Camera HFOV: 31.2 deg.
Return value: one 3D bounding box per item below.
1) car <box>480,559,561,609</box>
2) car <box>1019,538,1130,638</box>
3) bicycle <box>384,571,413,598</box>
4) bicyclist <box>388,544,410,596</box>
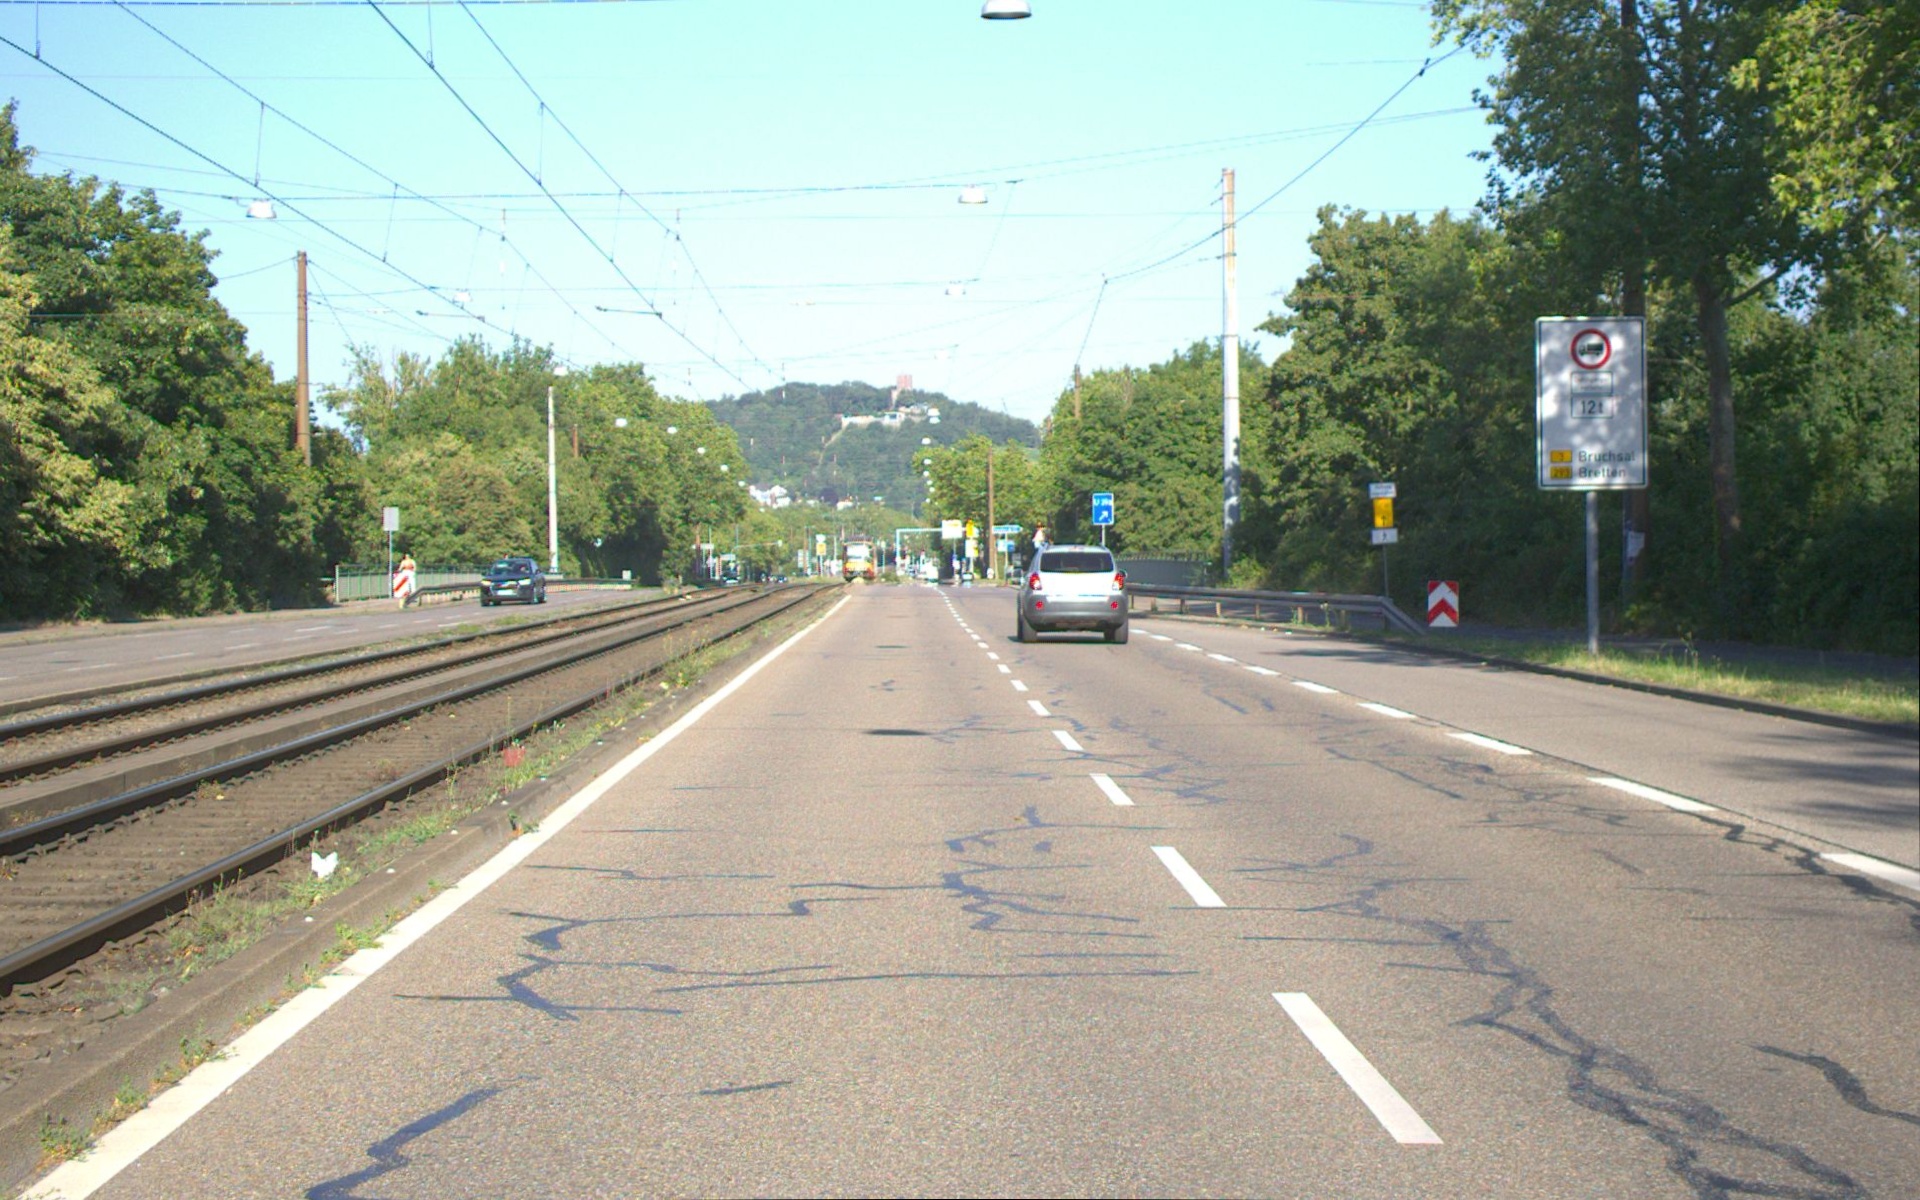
[{"bbox_3d":[-15.465,-0.562,121.234,1.994,1.680,4.795,-2,0,2],"label":"car"},{"bbox_3d":[2.002,-0.222,60.781,1.888,1.688,4.256,0,1,1],"label":"car"},{"bbox_3d":[-18.427,-0.510,112.832,0.507,0.889,2.027,2,1,2],"label":"bicycle"},{"bbox_3d":[-18.419,-0.986,112.837,0.507,1.681,0.919,2,0,2],"label":"bicyclist"}]
